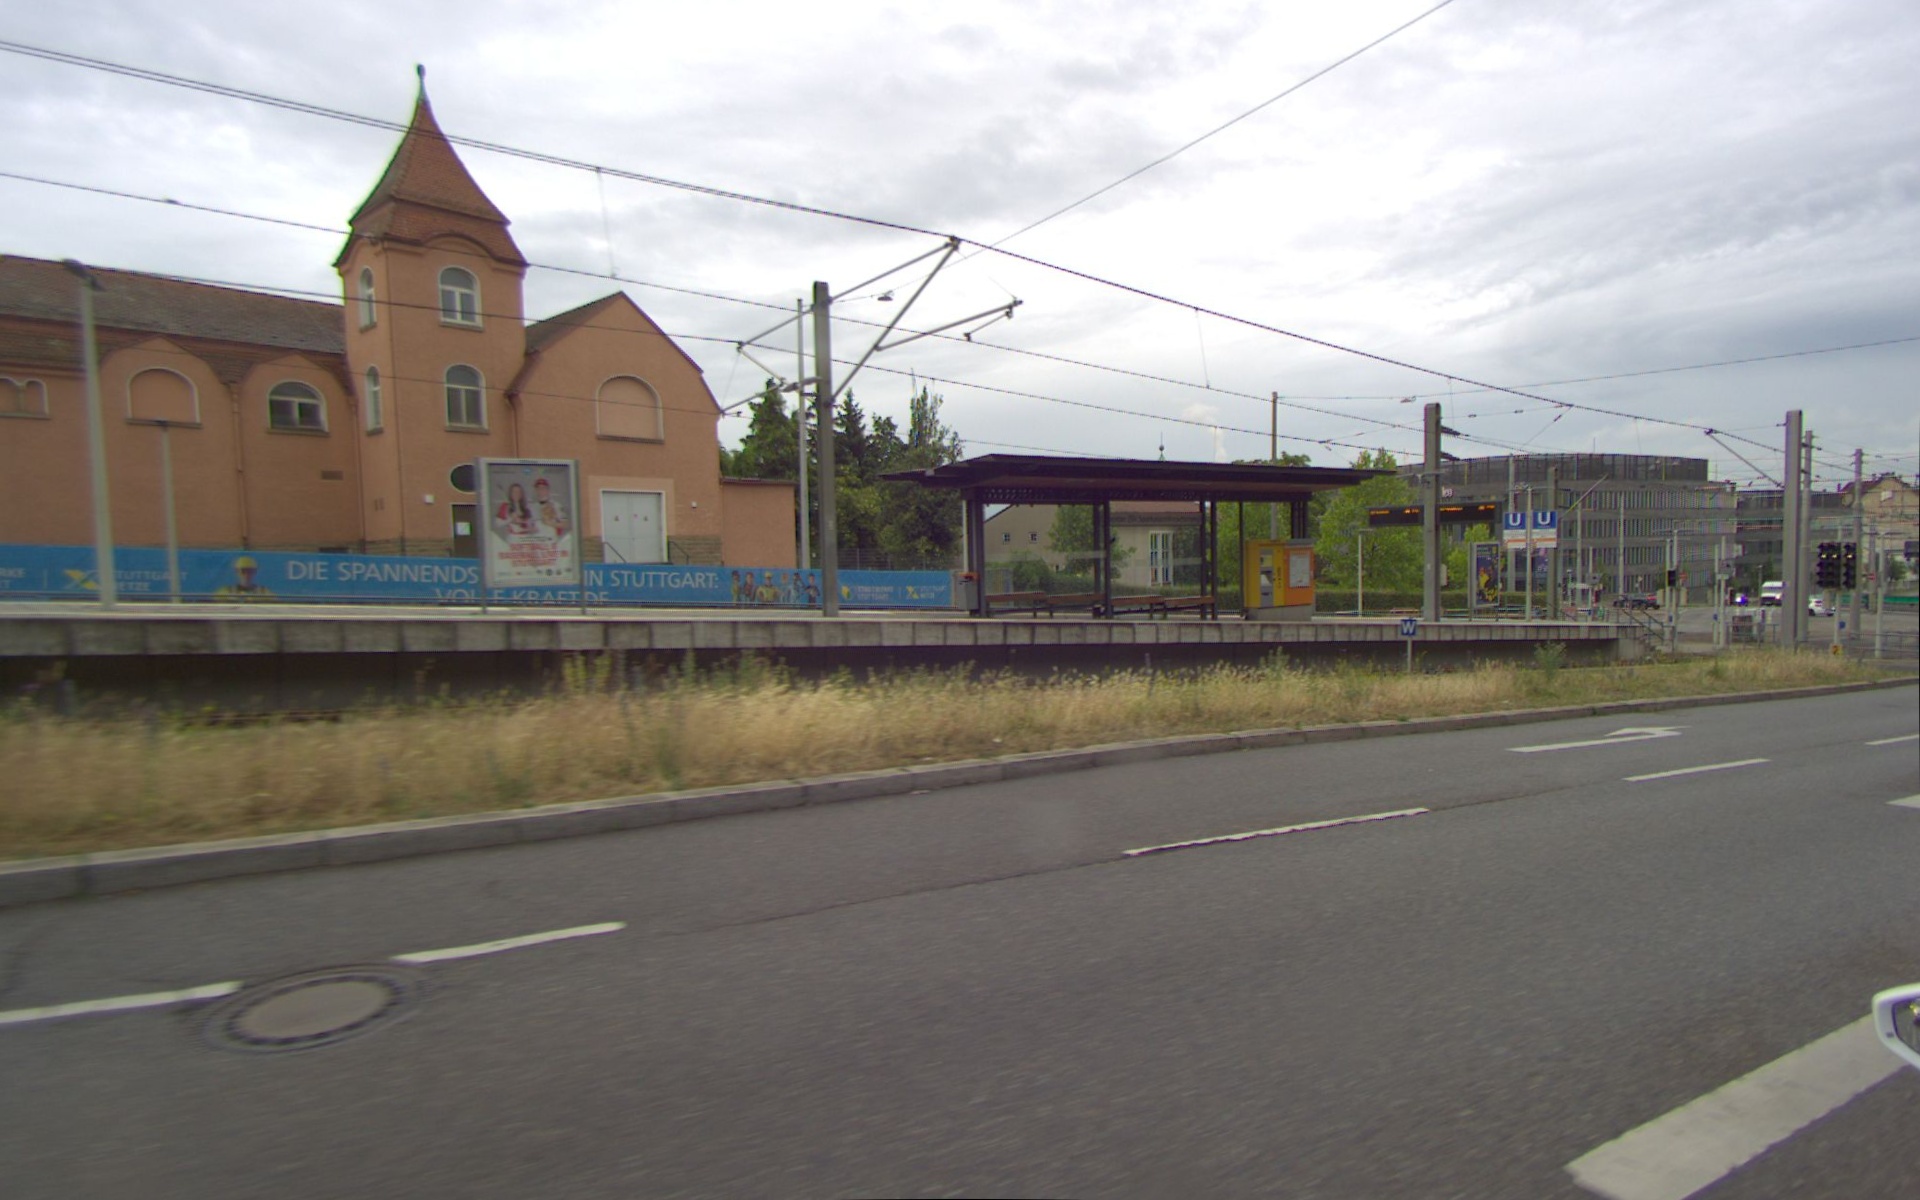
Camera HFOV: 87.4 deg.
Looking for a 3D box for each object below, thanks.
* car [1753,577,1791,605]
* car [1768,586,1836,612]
[{"bbox_3d":[85.635,-0.945,105.920,5.669,2.869,1.978,-1,-1,-40],"label":"car"},{"bbox_3d":[70.618,-0.092,84.334,1.967,2.040,3.988,2,0,-15],"label":"car"}]
